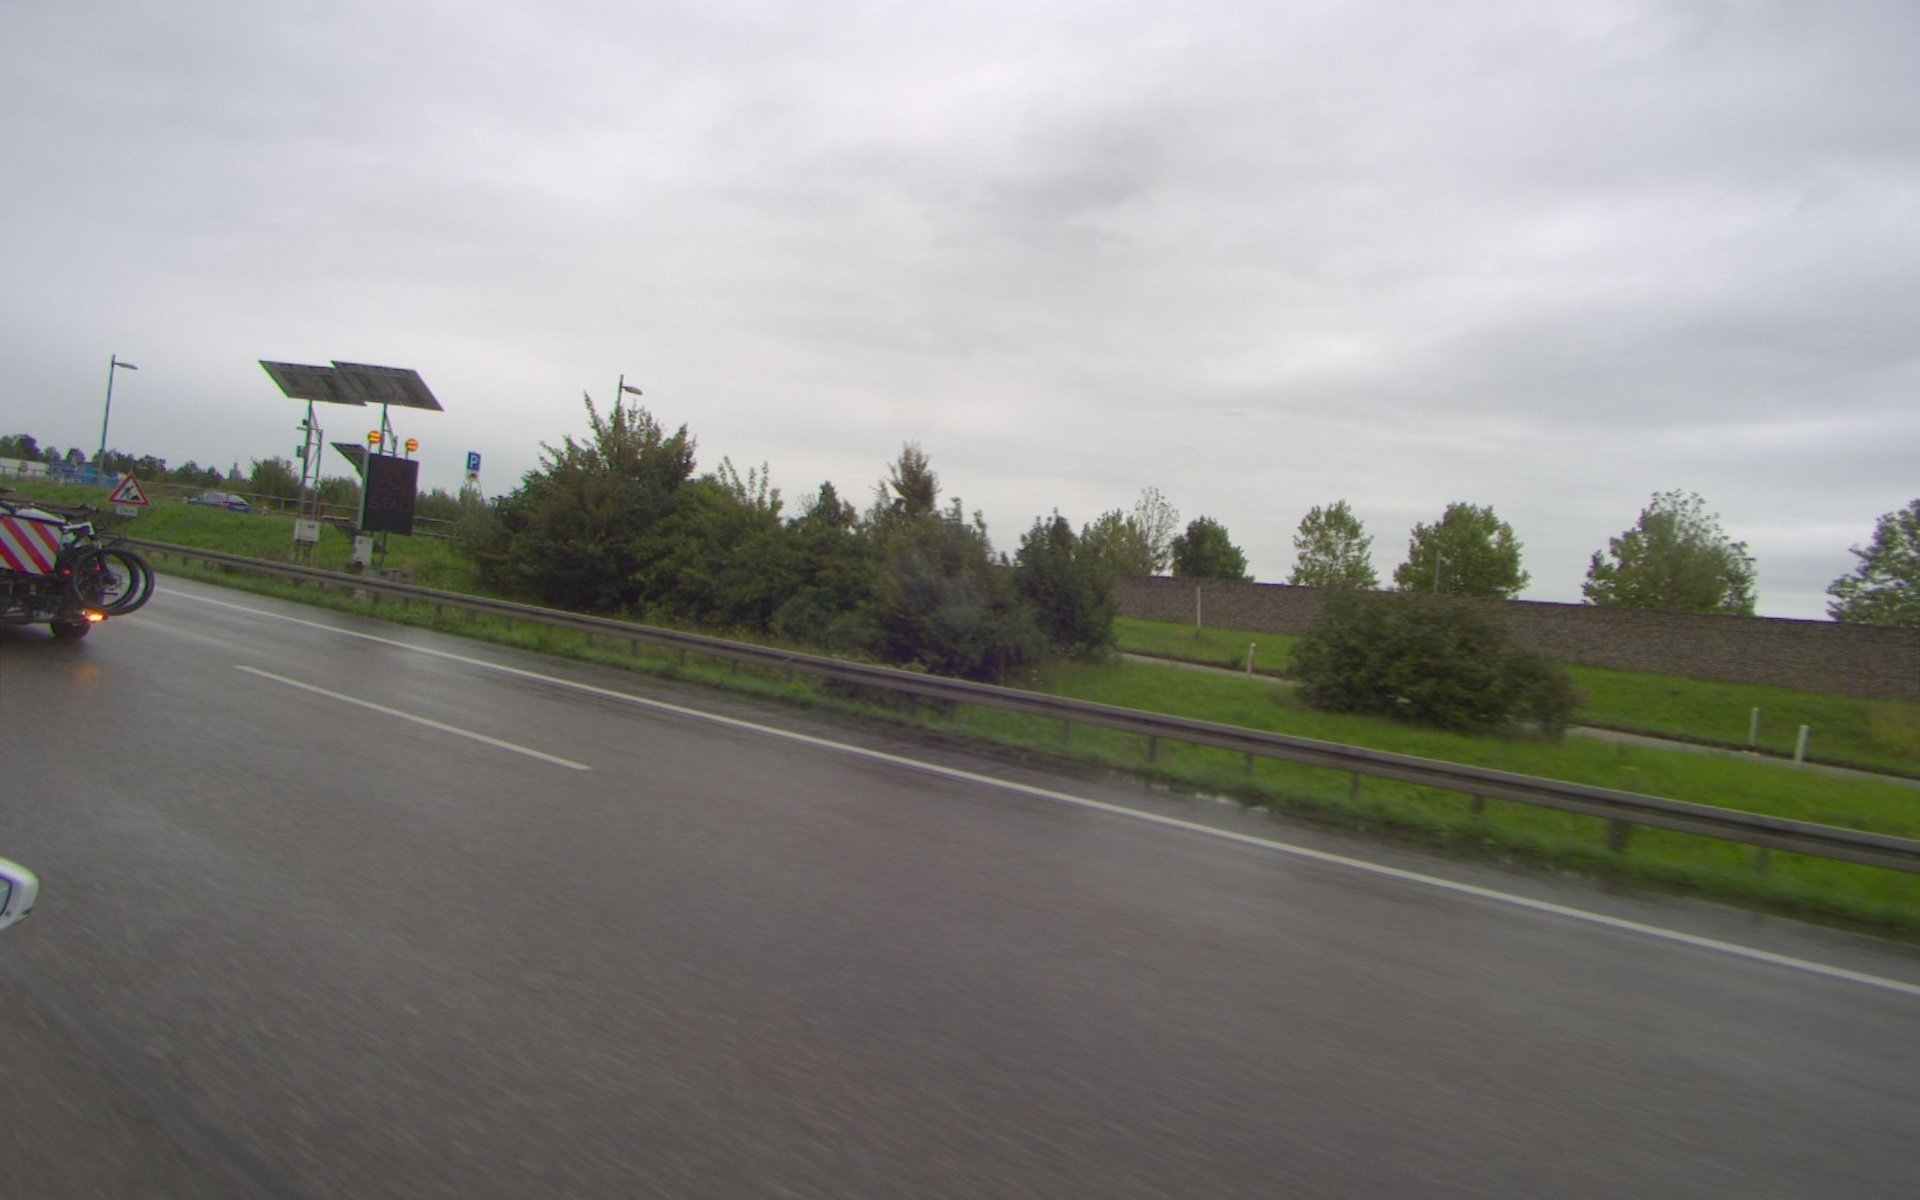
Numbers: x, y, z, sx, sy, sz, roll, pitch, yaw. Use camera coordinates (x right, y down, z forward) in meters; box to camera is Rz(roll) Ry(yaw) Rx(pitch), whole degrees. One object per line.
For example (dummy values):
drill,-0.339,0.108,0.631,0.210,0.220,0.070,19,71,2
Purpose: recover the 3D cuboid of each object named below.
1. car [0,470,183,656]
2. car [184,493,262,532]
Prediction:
car,-11.239,-0.576,11.339,5.431,1.691,2.061,6,-2,32
car,-40.716,-4.819,55.588,3.929,1.645,1.792,7,0,27
